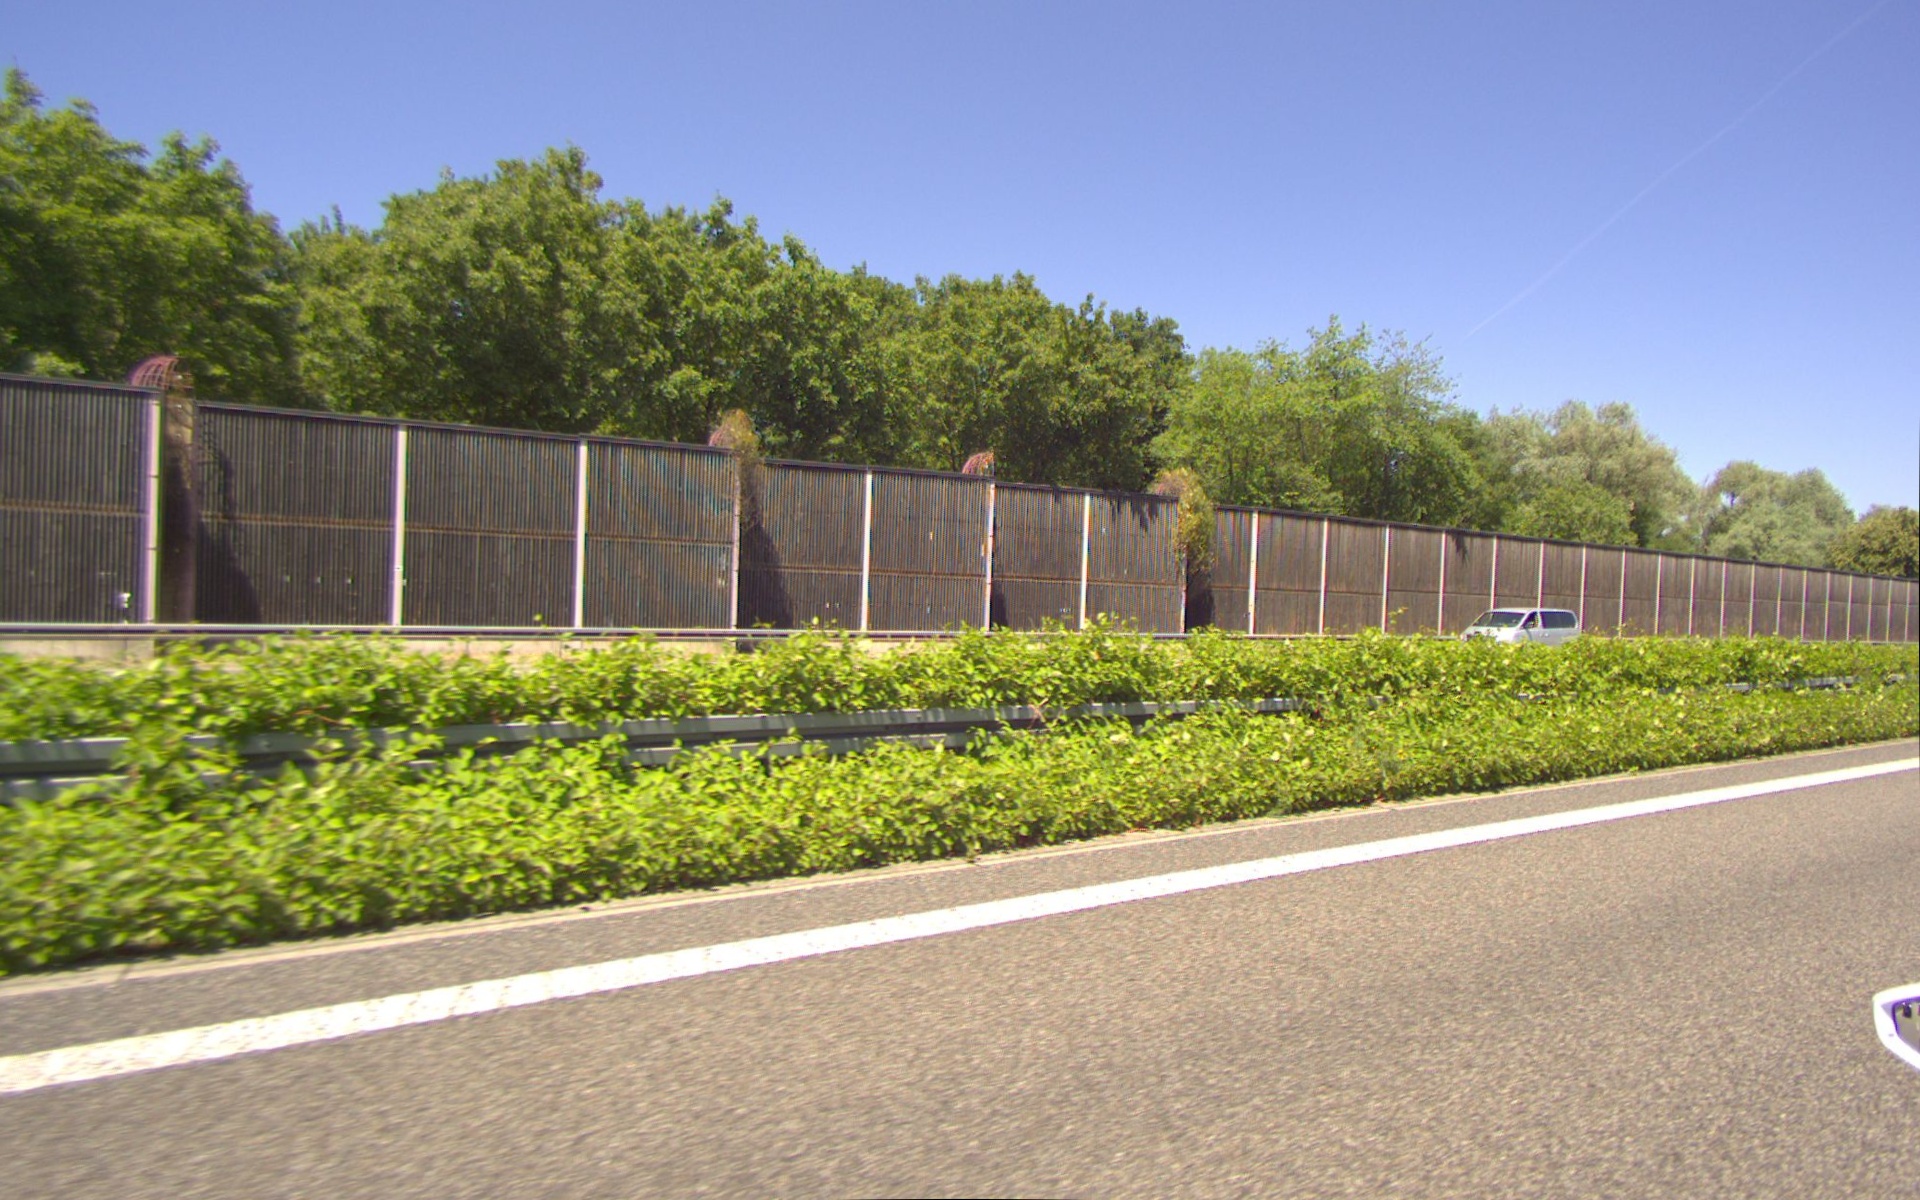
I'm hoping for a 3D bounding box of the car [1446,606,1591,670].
[{"bbox_3d":[19.429,1.295,34.888,5.323,2.040,1.983,1,0,-31],"label":"car"}]
